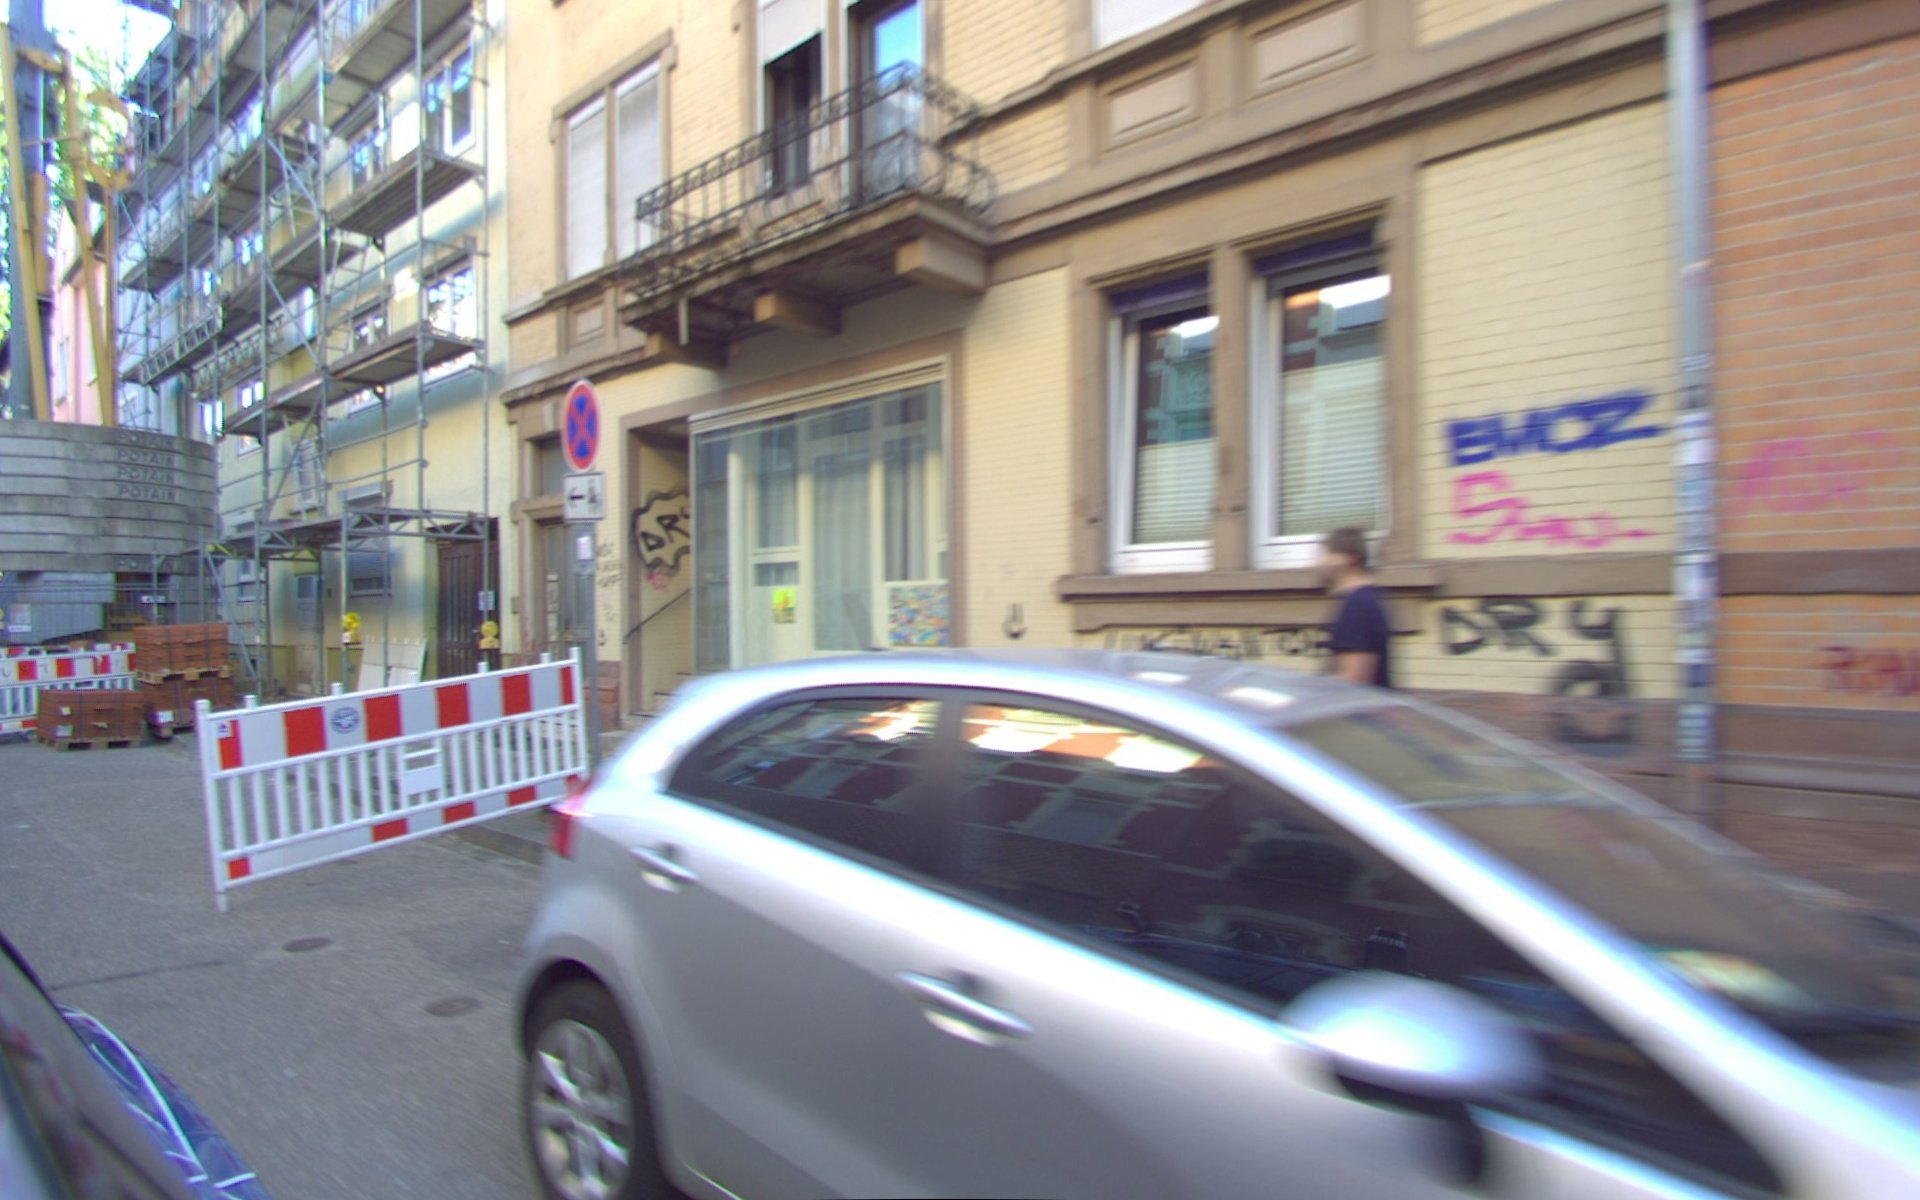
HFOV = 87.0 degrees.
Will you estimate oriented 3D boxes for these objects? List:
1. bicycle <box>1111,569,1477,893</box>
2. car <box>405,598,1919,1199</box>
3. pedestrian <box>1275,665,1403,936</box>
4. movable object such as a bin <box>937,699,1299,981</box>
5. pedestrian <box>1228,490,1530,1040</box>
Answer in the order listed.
[{"bbox_3d":[1.677,0.590,5.271,1.711,1.436,0.519,-1,2,42],"label":"bicycle"},{"bbox_3d":[0.566,0.759,2.094,3.997,1.430,1.657,-1,-3,40],"label":"car"},{"bbox_3d":[1.687,0.852,4.498,0.431,1.095,0.390,-1,-1,35],"label":"pedestrian"},{"bbox_3d":[0.678,0.971,4.531,1.413,0.939,0.754,-1,-1,38],"label":"movable object such as a bin"},{"bbox_3d":[1.582,0.540,3.827,0.886,1.778,0.679,-1,-2,38],"label":"pedestrian"}]
